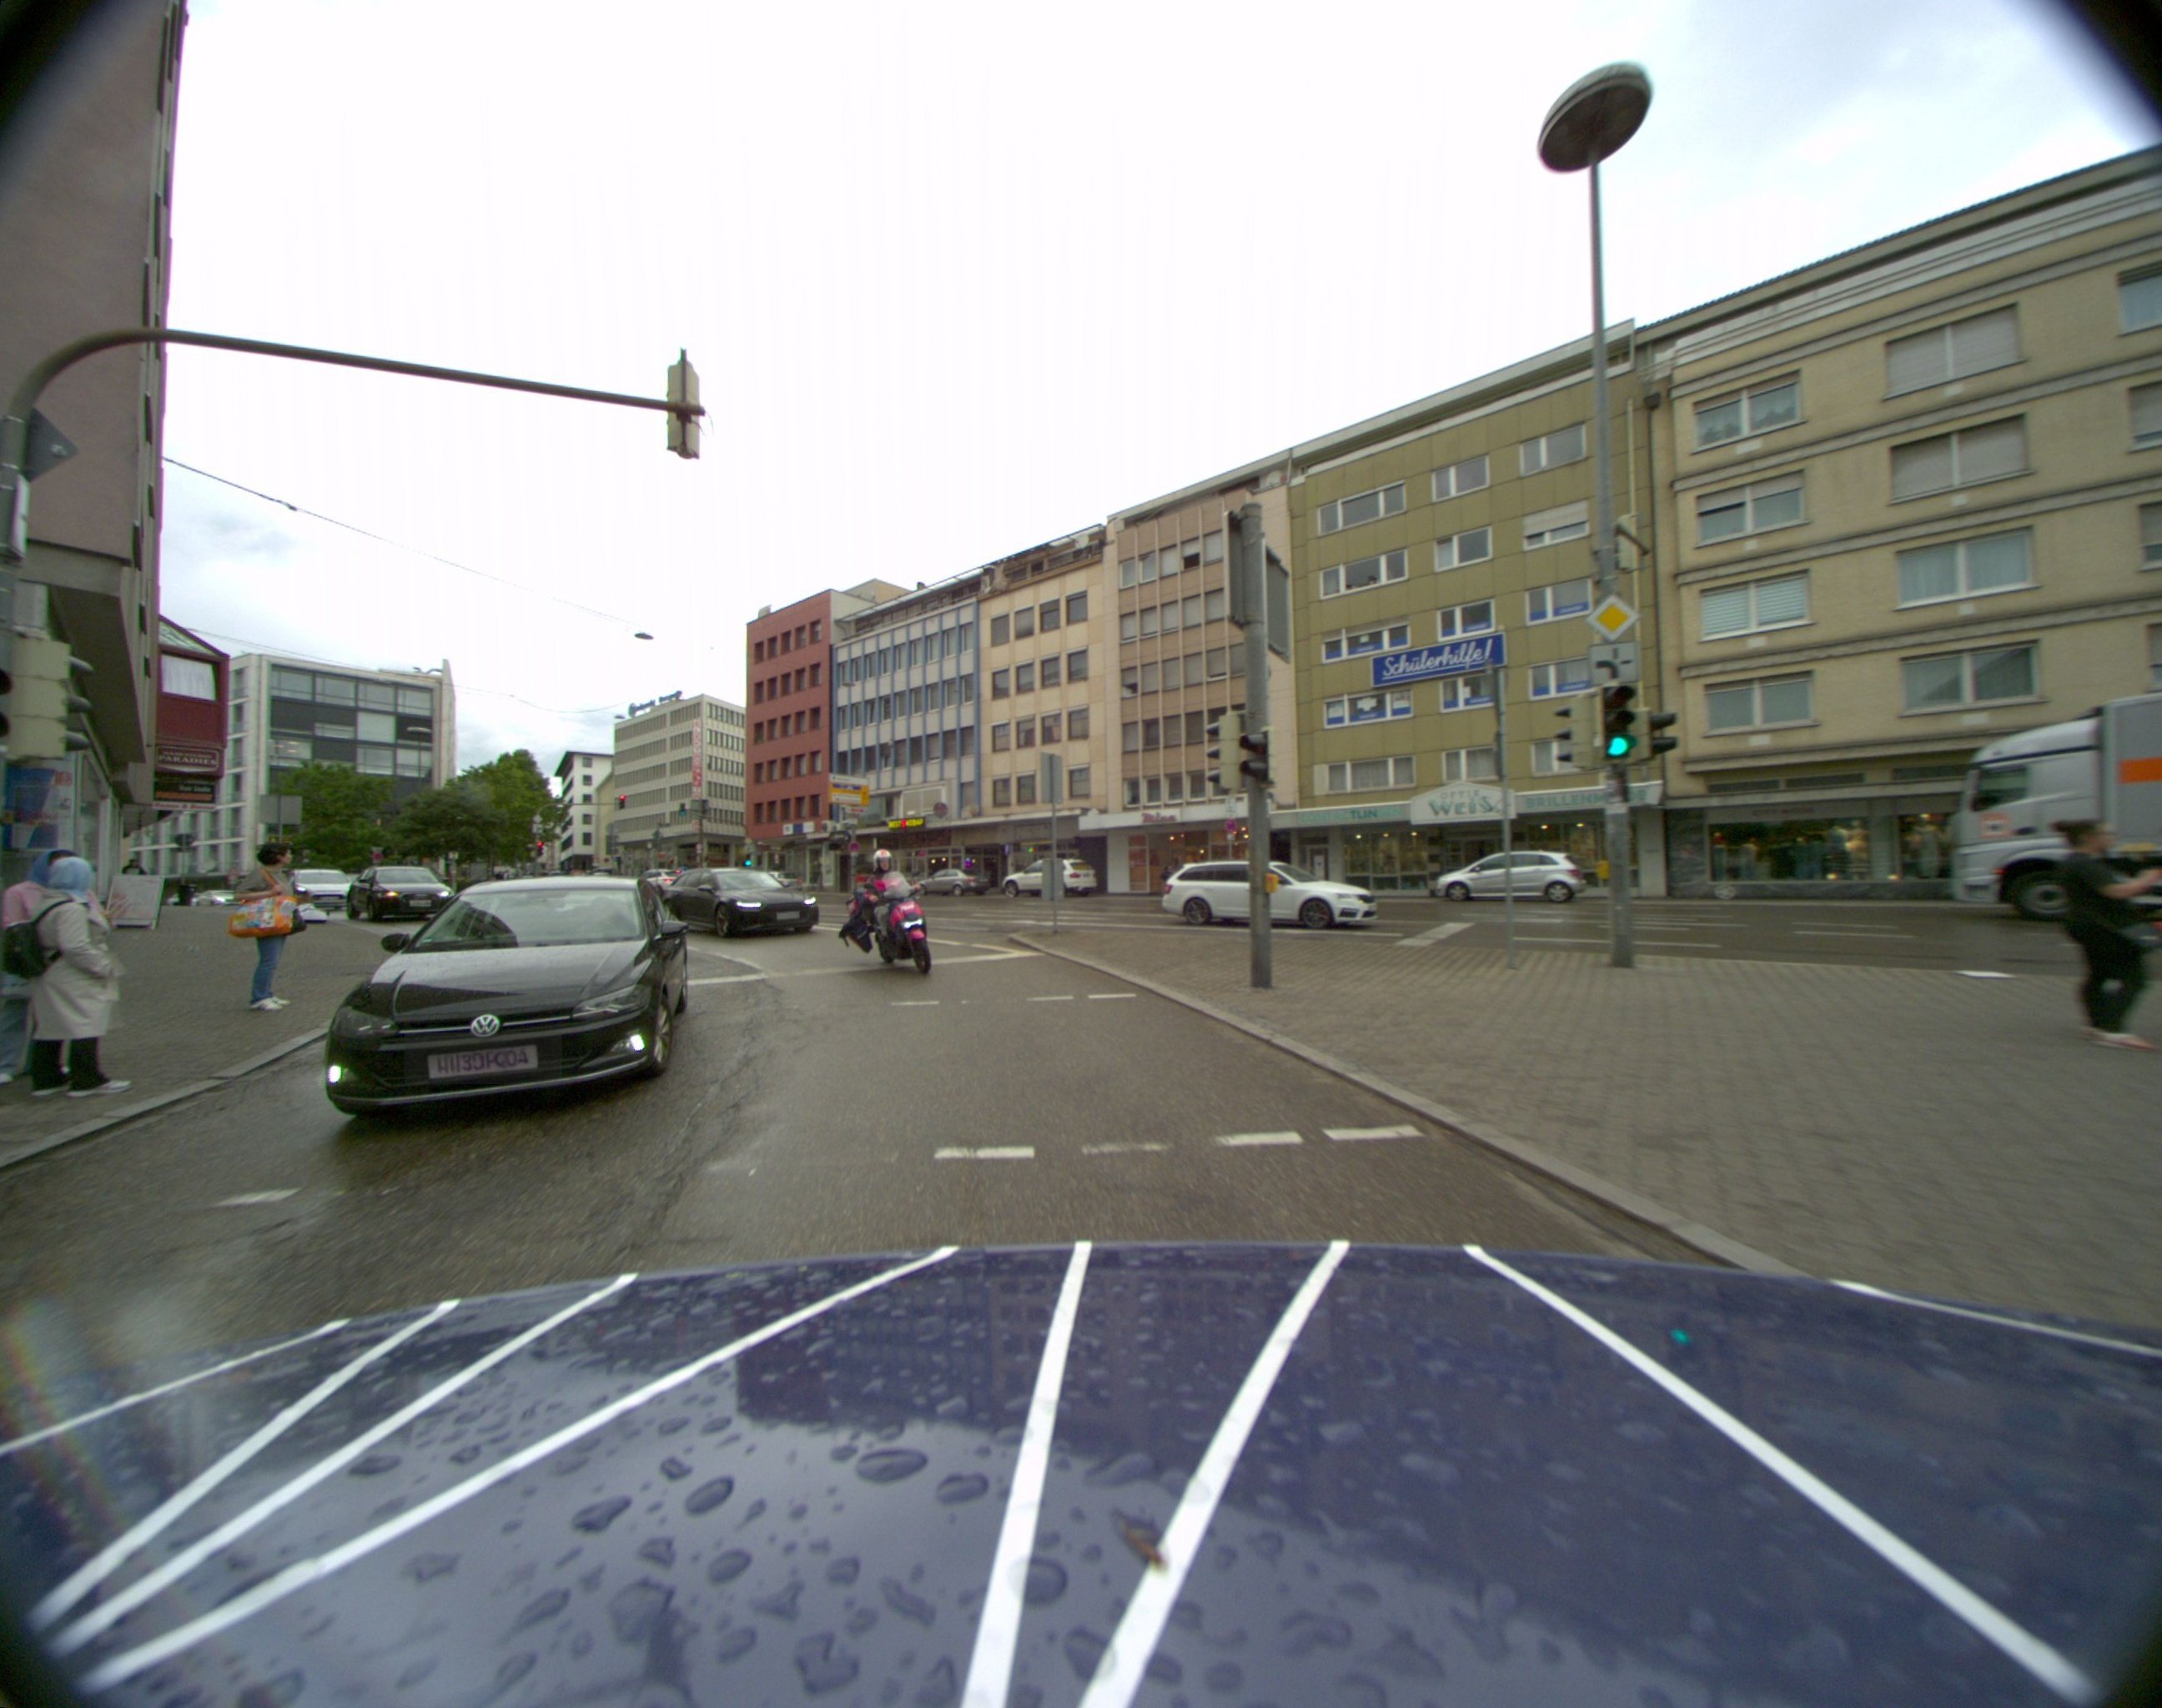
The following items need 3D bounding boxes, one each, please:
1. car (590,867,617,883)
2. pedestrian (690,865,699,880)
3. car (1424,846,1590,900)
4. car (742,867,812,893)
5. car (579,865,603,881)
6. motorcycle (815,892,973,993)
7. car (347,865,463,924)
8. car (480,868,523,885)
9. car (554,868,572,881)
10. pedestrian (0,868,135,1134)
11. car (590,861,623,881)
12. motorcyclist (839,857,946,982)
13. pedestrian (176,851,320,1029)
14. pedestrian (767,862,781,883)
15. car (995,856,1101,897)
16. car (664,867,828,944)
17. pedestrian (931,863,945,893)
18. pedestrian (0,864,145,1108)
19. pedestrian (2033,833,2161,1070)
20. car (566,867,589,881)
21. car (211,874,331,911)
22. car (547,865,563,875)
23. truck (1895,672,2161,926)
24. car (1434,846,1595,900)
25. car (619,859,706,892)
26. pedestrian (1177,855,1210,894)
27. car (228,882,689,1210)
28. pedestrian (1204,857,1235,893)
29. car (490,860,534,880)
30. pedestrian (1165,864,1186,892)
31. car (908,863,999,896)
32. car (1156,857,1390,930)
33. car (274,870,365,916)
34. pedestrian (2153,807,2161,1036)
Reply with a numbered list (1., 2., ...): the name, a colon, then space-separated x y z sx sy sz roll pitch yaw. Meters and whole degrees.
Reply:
1. car: -50.224 2.231 79.905 2.006 1.621 4.603 -2 0 -37
2. pedestrian: -41.134 1.991 80.797 0.716 1.613 0.722 -1 0 -34
3. car: 13.556 0.616 24.291 4.388 1.541 1.857 -3 0 37
4. car: -17.927 1.522 44.648 4.740 1.437 1.795 -2 0 41
5. car: -58.980 2.302 91.414 2.031 1.739 4.603 -2 0 -37
6. motorcycle: -2.642 1.142 10.543 1.316 1.128 2.179 -1 0 -39
7. car: -20.059 1.169 22.501 4.092 1.538 1.876 -2 0 39
8. car: -62.484 2.403 81.996 3.552 1.550 1.735 -2 1 -36
9. car: -80.160 3.167 117.538 2.031 1.830 4.035 -2 0 -37
10. pedestrian: -6.976 0.942 5.188 0.835 1.627 0.542 4 -1 37
11. car: -53.014 1.960 84.926 2.102 2.078 4.602 -2 0 -45
12. motorcyclist: -2.609 0.853 10.501 1.095 1.595 0.951 -2 0 -39
13. pedestrian: -8.358 0.825 7.663 0.628 1.682 0.781 2 0 -17
14. pedestrian: -26.561 1.621 65.743 0.732 1.737 0.743 -2 0 8
15. car: -1.612 1.043 35.925 4.950 1.816 1.859 -2 0 38
16. car: -7.786 1.072 17.382 2.004 1.482 4.721 -1 -1 -42
17. pedestrian: -8.252 1.381 43.934 0.582 1.698 0.448 -2 0 38
18. pedestrian: -7.492 0.912 5.438 0.746 1.625 0.595 3 1 -11
19. pedestrian: 6.912 0.609 5.080 0.558 1.479 0.708 0 2 42
20. car: -63.939 2.570 96.507 1.937 1.662 4.434 -2 0 -39
21. car: -41.896 1.972 39.450 1.999 1.673 3.999 -1 0 -2
22. car: -95.631 2.951 138.206 2.031 1.639 4.416 -2 0 -39
23. truck: 19.845 -0.970 11.483 2.855 4.307 10.767 -1 0 -5
24. car: 13.655 0.592 24.057 4.190 1.554 1.709 -2 0 39
25. car: -21.761 1.116 39.489 4.417 1.542 2.004 -3 0 33
26. pedestrian: 5.004 0.918 33.845 1.083 1.685 0.957 -2 0 36
27. car: -4.207 1.043 5.929 1.745 1.422 3.872 -3 1 -24
28. pedestrian: 5.847 0.892 32.062 1.062 1.475 0.670 -2 0 36
29. car: -71.505 1.992 95.570 3.837 2.252 1.983 -2 1 -11
30. pedestrian: 4.307 1.079 34.589 0.719 1.242 0.537 -2 0 36
31. car: -6.731 1.329 39.831 4.866 1.599 1.875 -2 0 38
32. car: 4.128 0.822 16.747 4.618 1.407 1.802 -2 -1 37
33. car: -29.271 1.490 29.173 4.093 1.574 2.004 -3 -1 39
34. pedestrian: 7.936 0.491 4.949 0.912 1.662 0.983 -1 1 43
